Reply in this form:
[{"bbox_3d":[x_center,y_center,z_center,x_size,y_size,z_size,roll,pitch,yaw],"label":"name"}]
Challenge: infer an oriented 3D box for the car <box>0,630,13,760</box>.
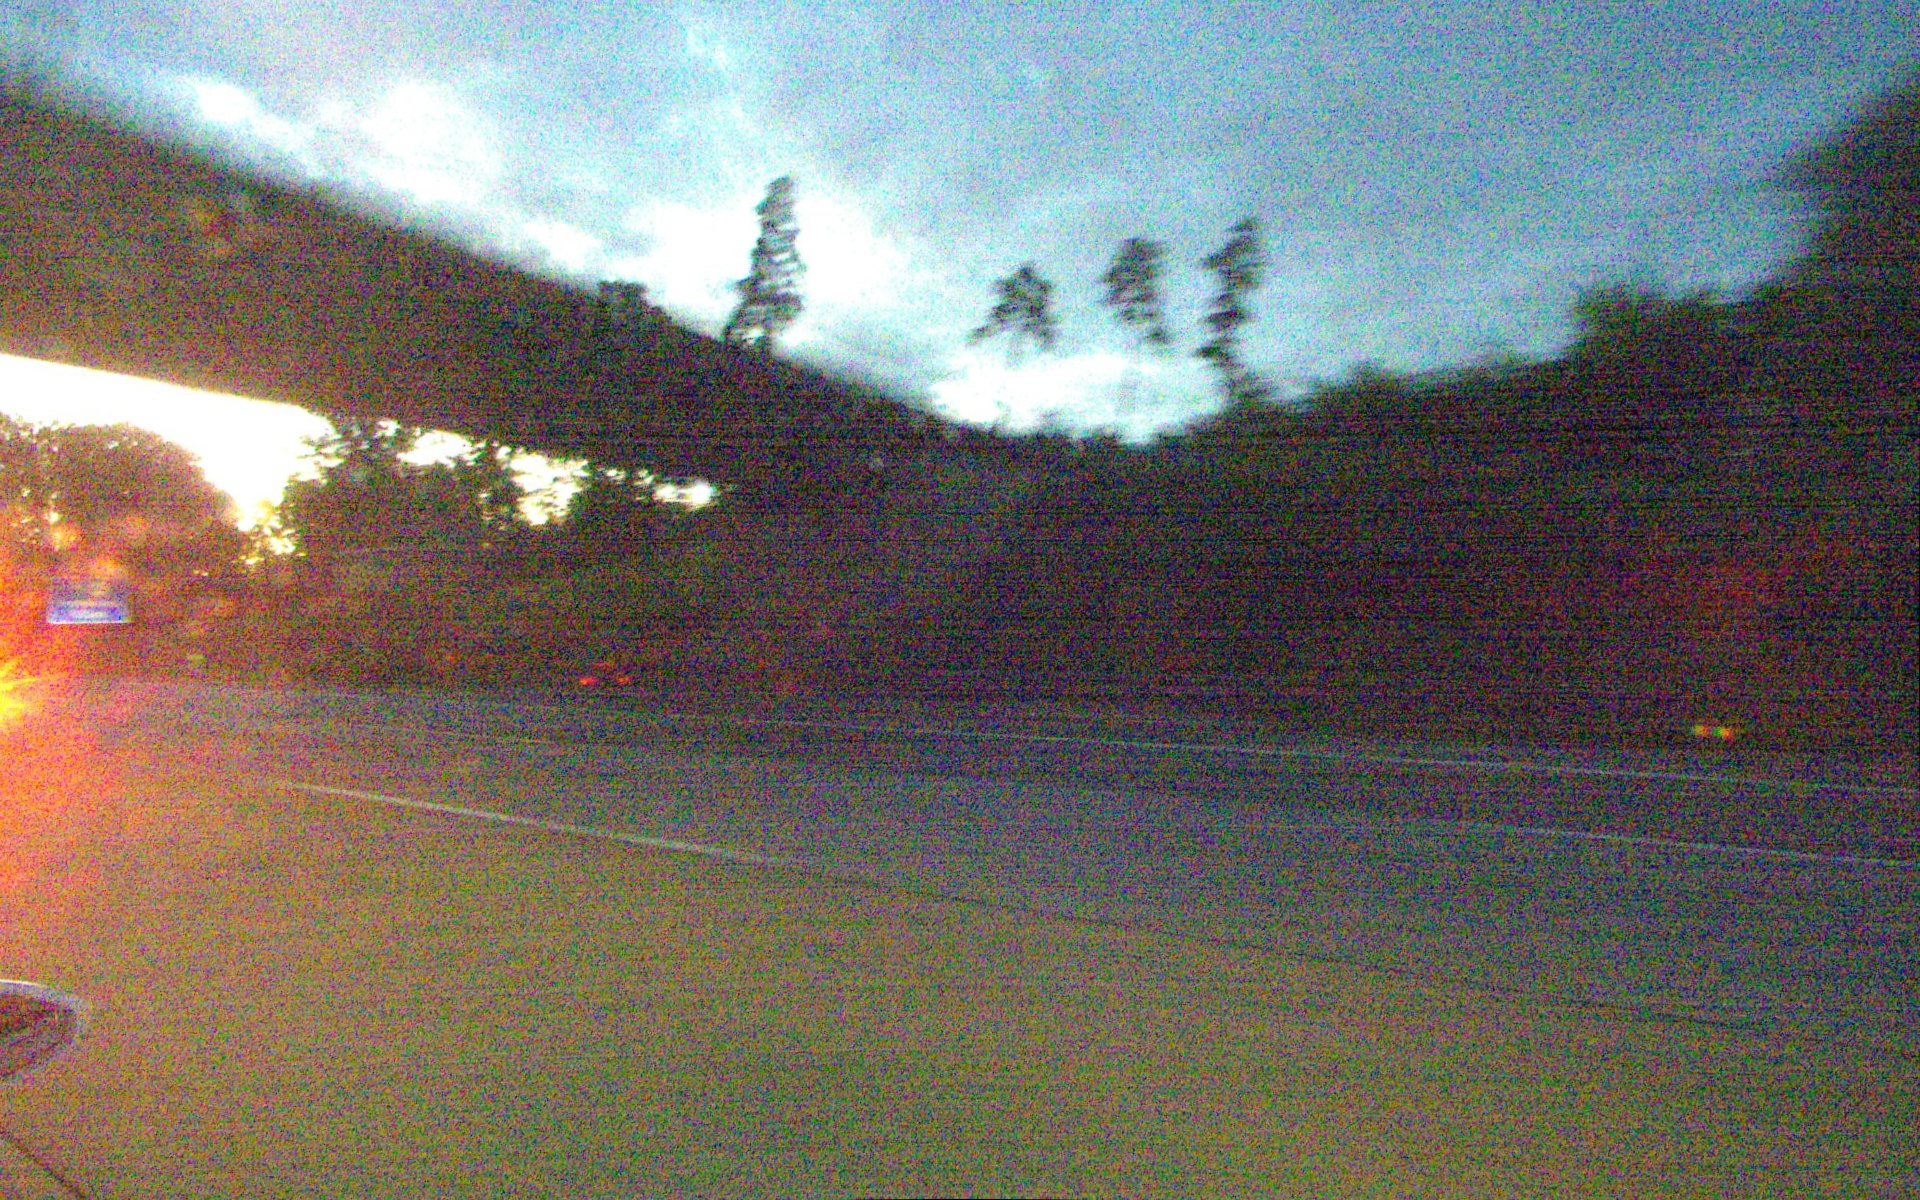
[{"bbox_3d":[-14.160,1.132,12.826,5.159,1.557,1.905,0,-1,34],"label":"car"}]
